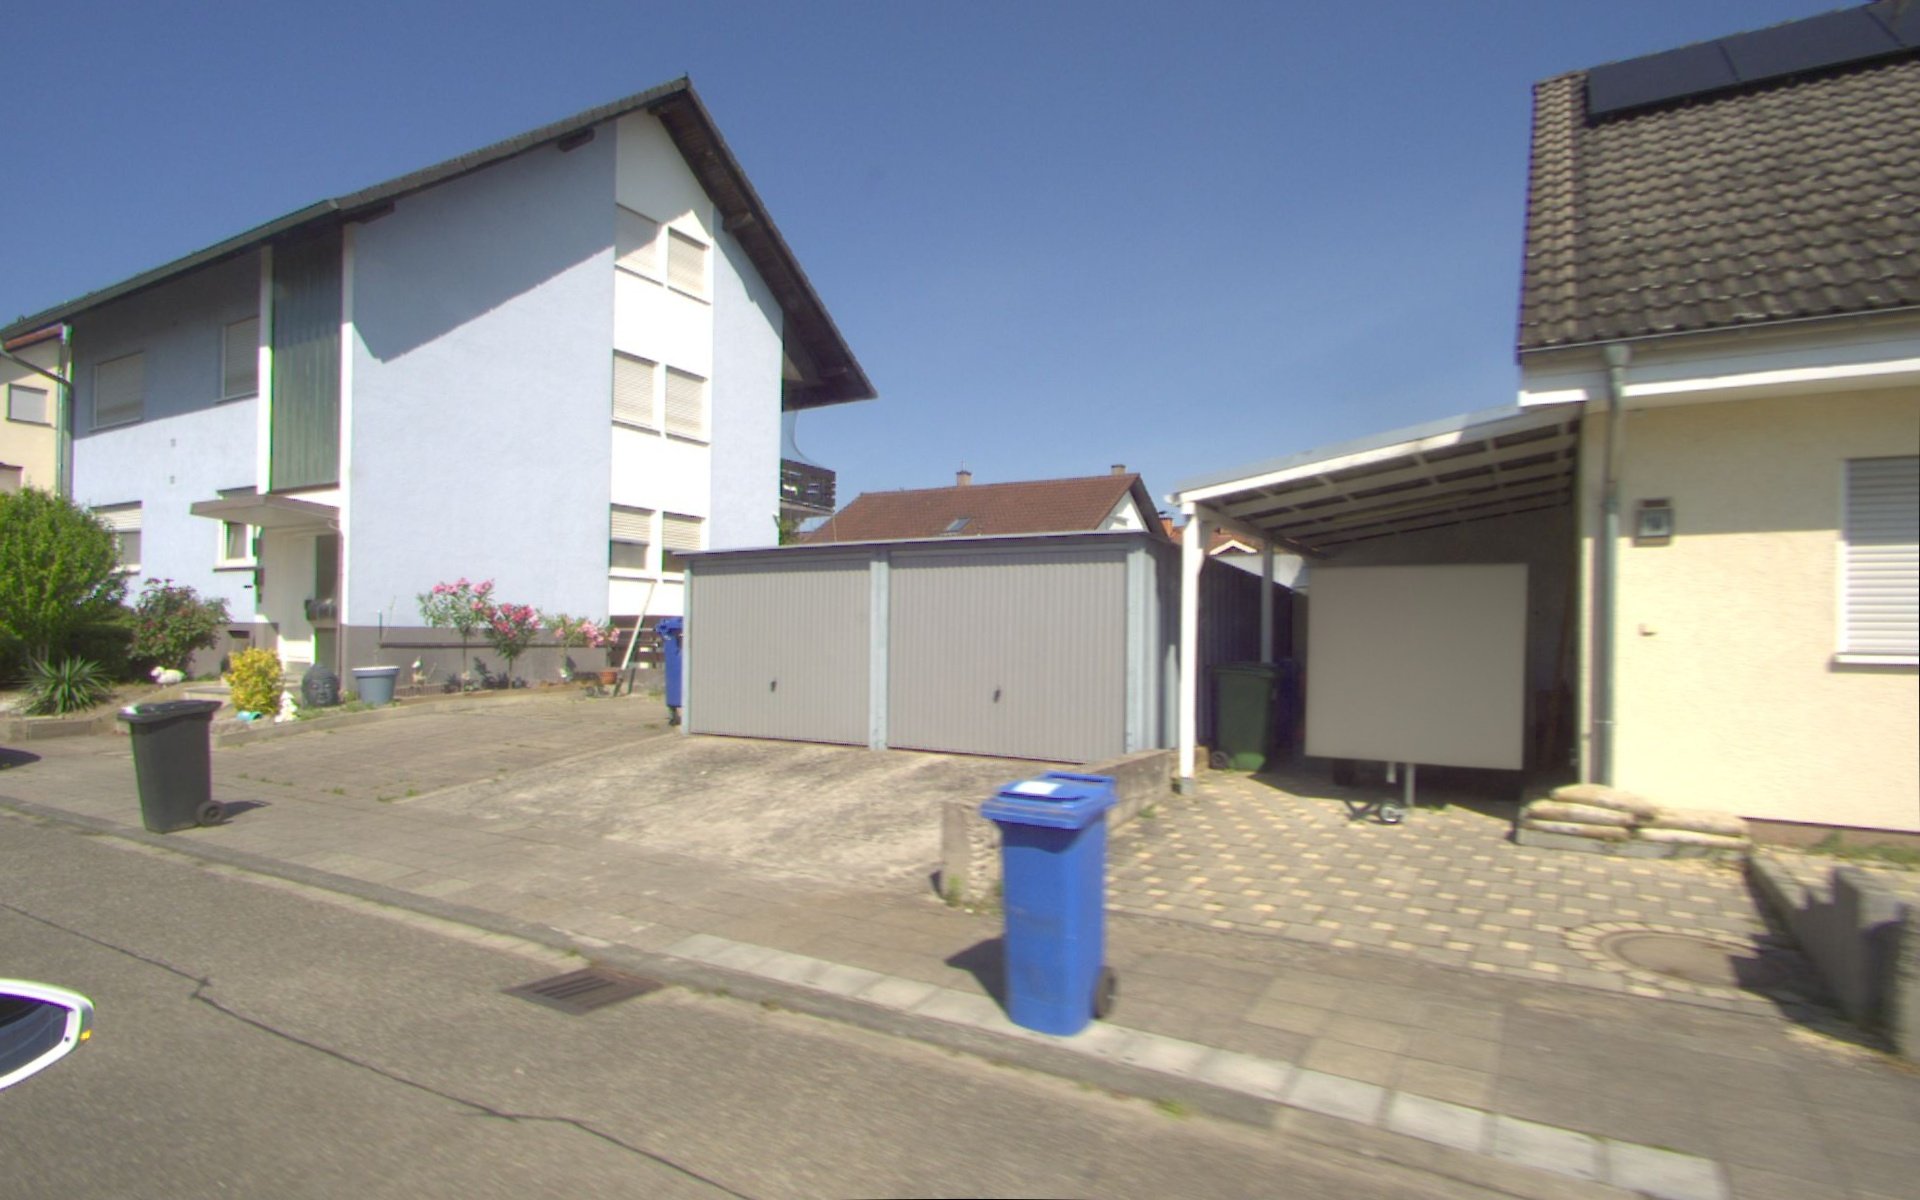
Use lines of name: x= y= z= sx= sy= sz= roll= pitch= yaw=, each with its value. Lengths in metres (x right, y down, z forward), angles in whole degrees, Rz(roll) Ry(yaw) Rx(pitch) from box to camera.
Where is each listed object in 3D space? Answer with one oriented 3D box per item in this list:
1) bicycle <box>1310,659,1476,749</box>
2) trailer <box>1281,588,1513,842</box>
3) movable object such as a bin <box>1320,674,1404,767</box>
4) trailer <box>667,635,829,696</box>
bicycle: x=5.284 y=1.242 z=12.258 sx=1.802 sy=0.982 sz=0.557 roll=0 pitch=-1 yaw=32
trailer: x=3.733 y=0.820 z=8.339 sx=1.382 sy=1.712 sz=2.830 roll=0 pitch=-1 yaw=32
movable object such as a bin: x=4.237 y=1.246 z=10.535 sx=0.629 sy=0.875 sz=0.830 roll=0 pitch=-1 yaw=36
trailer: x=-3.754 y=1.118 z=17.657 sx=2.644 sy=0.958 sz=1.325 roll=0 pitch=-1 yaw=33
